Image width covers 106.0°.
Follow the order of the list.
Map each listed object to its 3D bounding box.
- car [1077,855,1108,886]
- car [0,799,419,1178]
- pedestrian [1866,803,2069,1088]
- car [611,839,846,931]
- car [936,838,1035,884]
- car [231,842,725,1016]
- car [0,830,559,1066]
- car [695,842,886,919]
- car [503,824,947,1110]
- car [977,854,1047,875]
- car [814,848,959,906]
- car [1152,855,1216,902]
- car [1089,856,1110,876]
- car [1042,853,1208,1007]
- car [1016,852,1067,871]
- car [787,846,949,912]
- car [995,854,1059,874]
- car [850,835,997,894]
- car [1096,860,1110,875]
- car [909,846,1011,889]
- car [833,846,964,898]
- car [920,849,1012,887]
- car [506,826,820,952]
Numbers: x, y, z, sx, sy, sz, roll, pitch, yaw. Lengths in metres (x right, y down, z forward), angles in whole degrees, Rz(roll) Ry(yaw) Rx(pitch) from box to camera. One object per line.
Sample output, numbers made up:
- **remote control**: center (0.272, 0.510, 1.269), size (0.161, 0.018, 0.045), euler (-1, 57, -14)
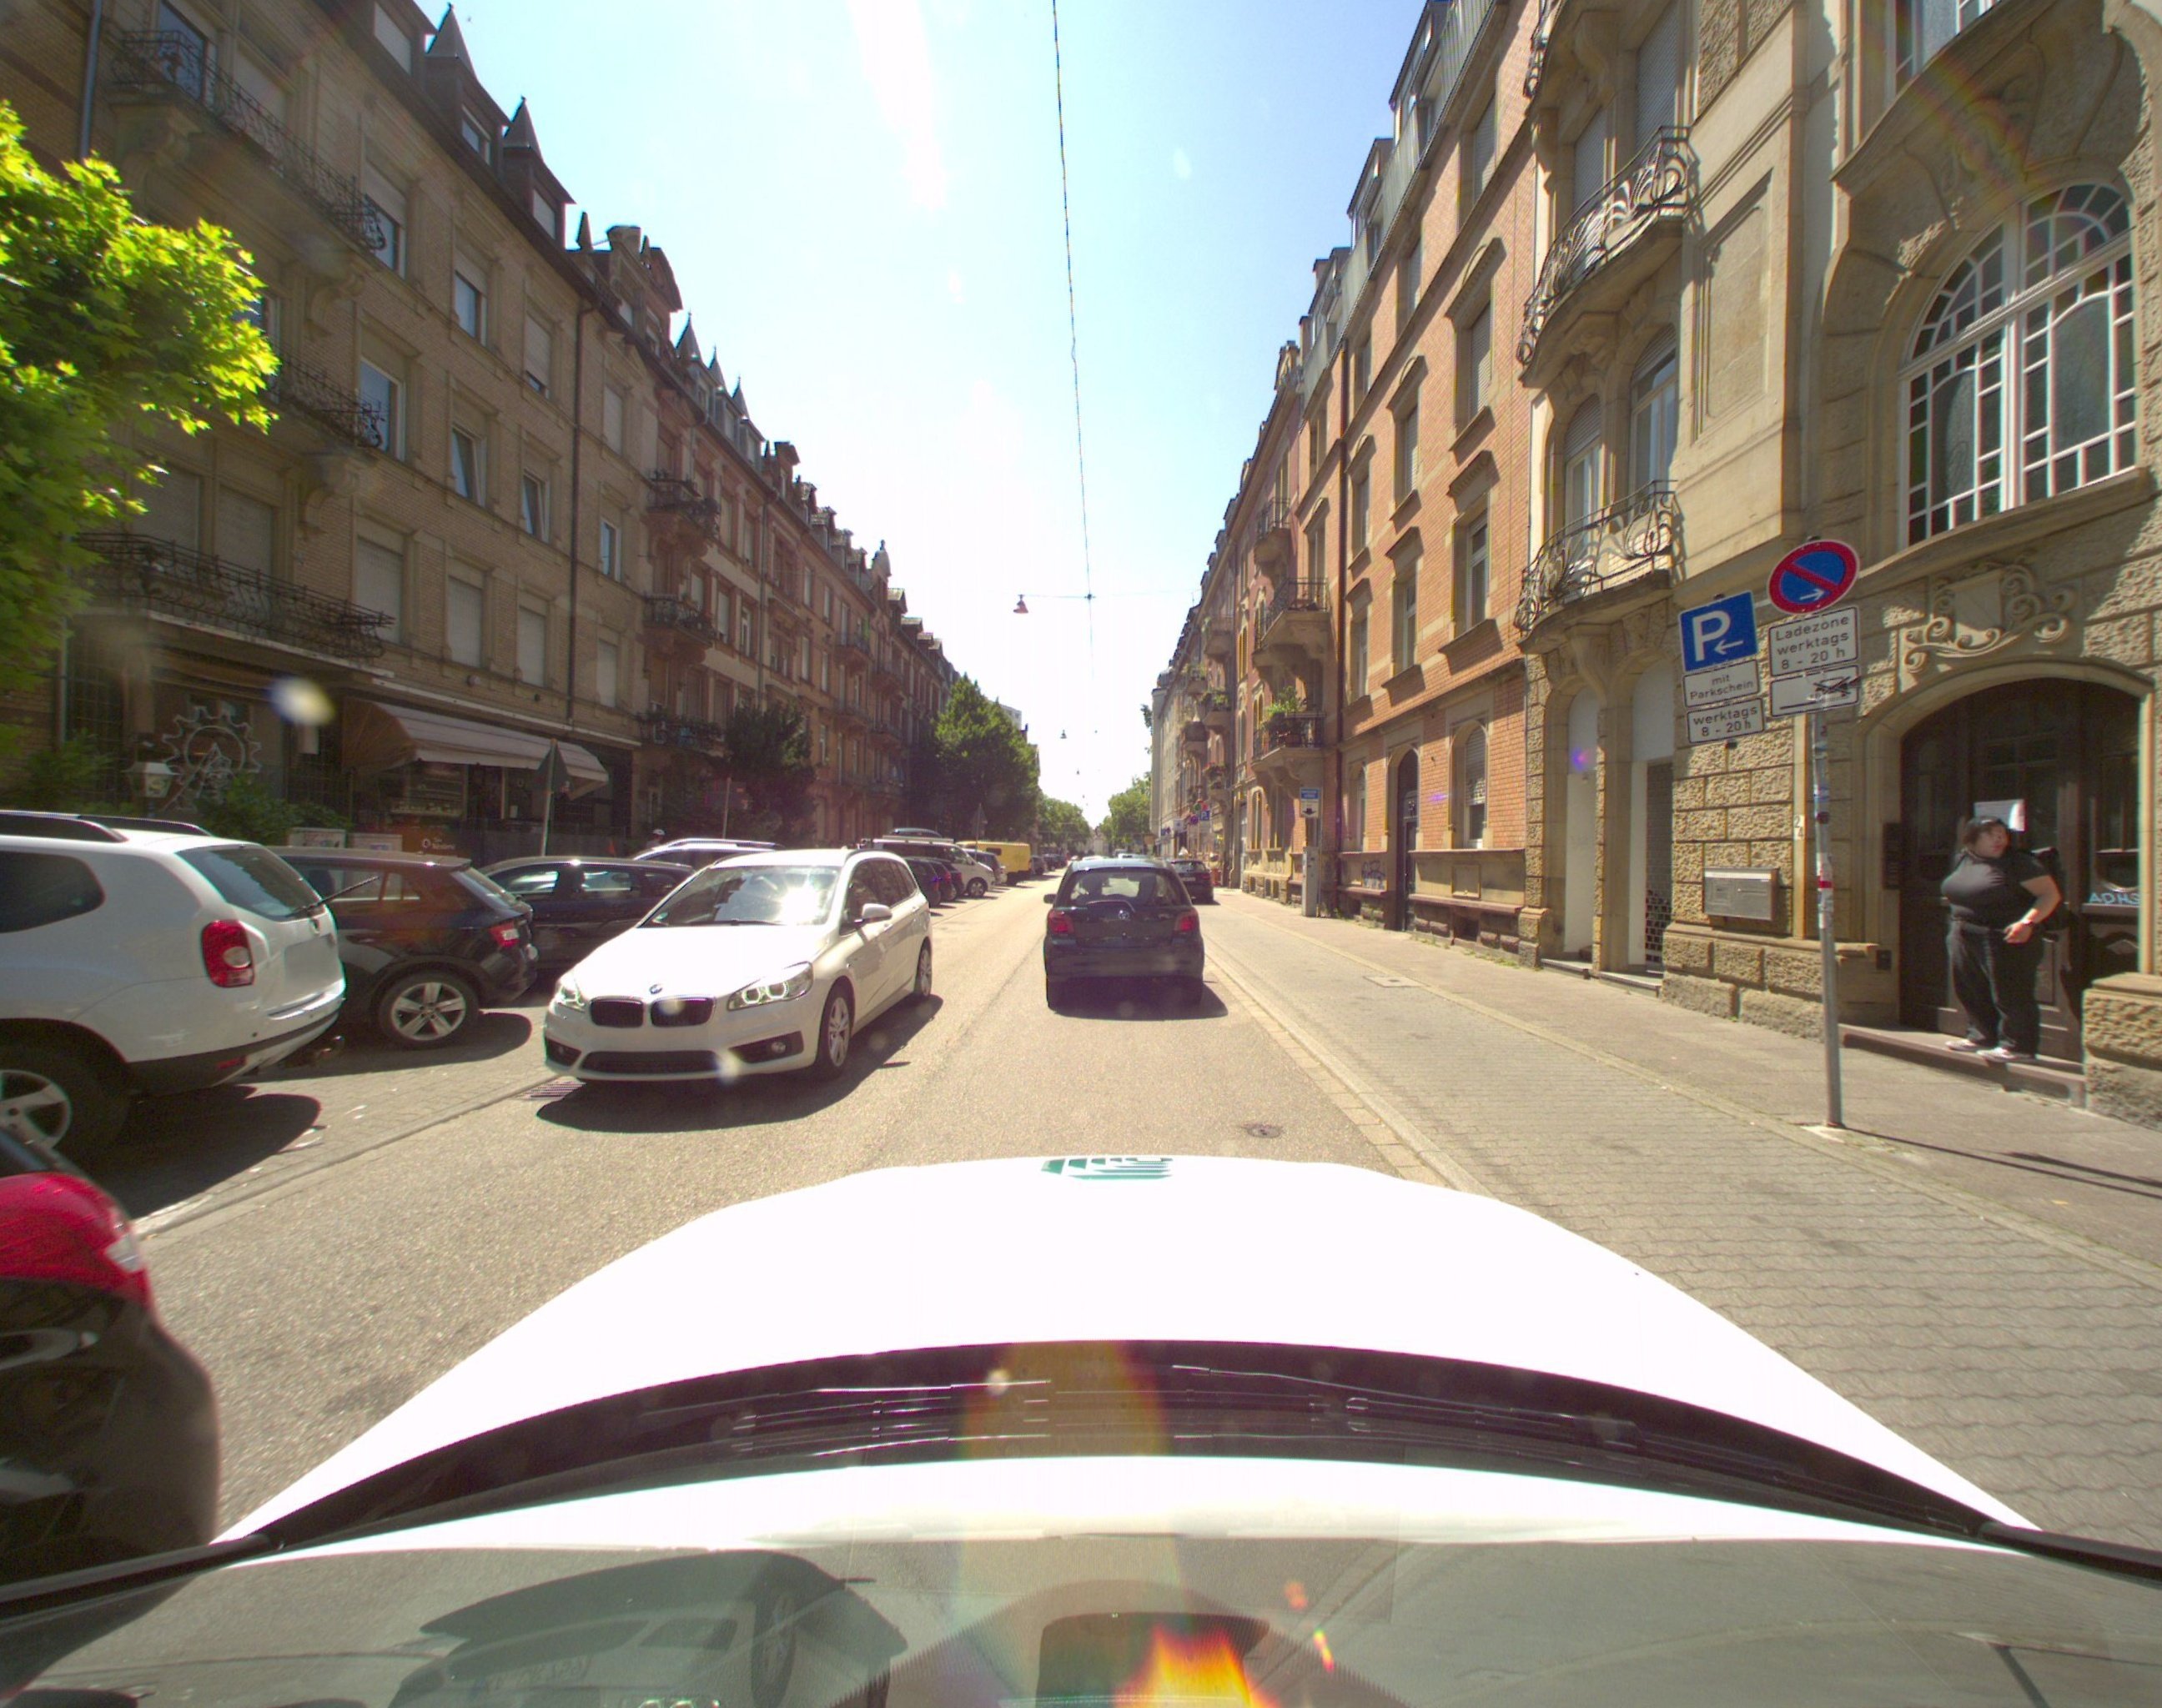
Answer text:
- **car**: center (0.611, 0.832, 42.573), size (1.517, 1.521, 3.264), euler (1, 0, 1)
- **car**: center (-6.067, 0.526, 3.952), size (4.002, 1.658, 1.747), euler (3, 0, -22)
- **pedestrian**: center (5.843, 0.556, 5.406), size (0.511, 1.750, 0.748), euler (-1, 0, -6)
- **car**: center (-6.701, 0.579, 15.822), size (3.926, 1.619, 1.852), euler (1, 0, -23)
- **car**: center (-4.839, 0.363, 41.358), size (4.581, 2.187, 1.983), euler (1, 0, -26)
- **car**: center (-6.236, 0.665, 8.866), size (3.942, 1.470, 1.844), euler (2, 0, -40)
- **car**: center (-6.338, 0.643, 6.334), size (3.640, 1.458, 1.610), euler (3, 0, -28)
- **car**: center (-6.643, 0.589, 18.766), size (3.926, 1.619, 1.852), euler (1, 0, -23)
- **car**: center (-2.484, 0.683, 7.028), size (1.748, 1.645, 4.379), euler (-2, 0, 2)
- **car**: center (-4.958, 0.766, 58.388), size (4.581, 1.434, 1.983), euler (1, 0, -26)
- **car**: center (-5.784, 0.669, 24.189), size (3.926, 1.619, 1.852), euler (1, 0, -23)
- **car**: center (3.345, 0.769, 27.094), size (1.748, 1.429, 4.001), euler (0, 0, 2)
- **car**: center (1.584, 0.962, 68.580), size (1.515, 1.592, 3.268), euler (1, 0, 4)
- **car**: center (0.437, 0.740, 9.566), size (1.608, 1.485, 3.240), euler (0, 0, 0)
- **car**: center (-3.932, 0.755, 80.939), size (4.630, 1.726, 1.983), euler (1, 0, -26)
- **car**: center (-5.656, 0.641, 21.555), size (3.926, 1.619, 1.852), euler (1, 0, -23)
- **car**: center (-4.255, 0.774, 64.002), size (4.581, 1.428, 1.983), euler (1, 0, -26)
- **car**: center (-5.665, 0.397, 29.392), size (4.800, 1.994, 2.035), euler (1, 0, -28)
- **car**: center (2.512, 1.496, 92.702), size (1.517, 1.592, 3.263), euler (1, 0, 0)
- **car**: center (-5.118, 0.587, 34.480), size (3.926, 1.708, 1.852), euler (1, 0, -23)
- **car**: center (-6.009, 0.594, 26.804), size (3.926, 1.619, 1.852), euler (1, 0, -23)
- **car**: center (-5.271, 0.622, 37.363), size (3.877, 1.640, 1.772), euler (1, 0, -22)
- **car**: center (-6.260, 0.478, 12.403), size (3.942, 1.619, 1.844), euler (2, 0, -39)
